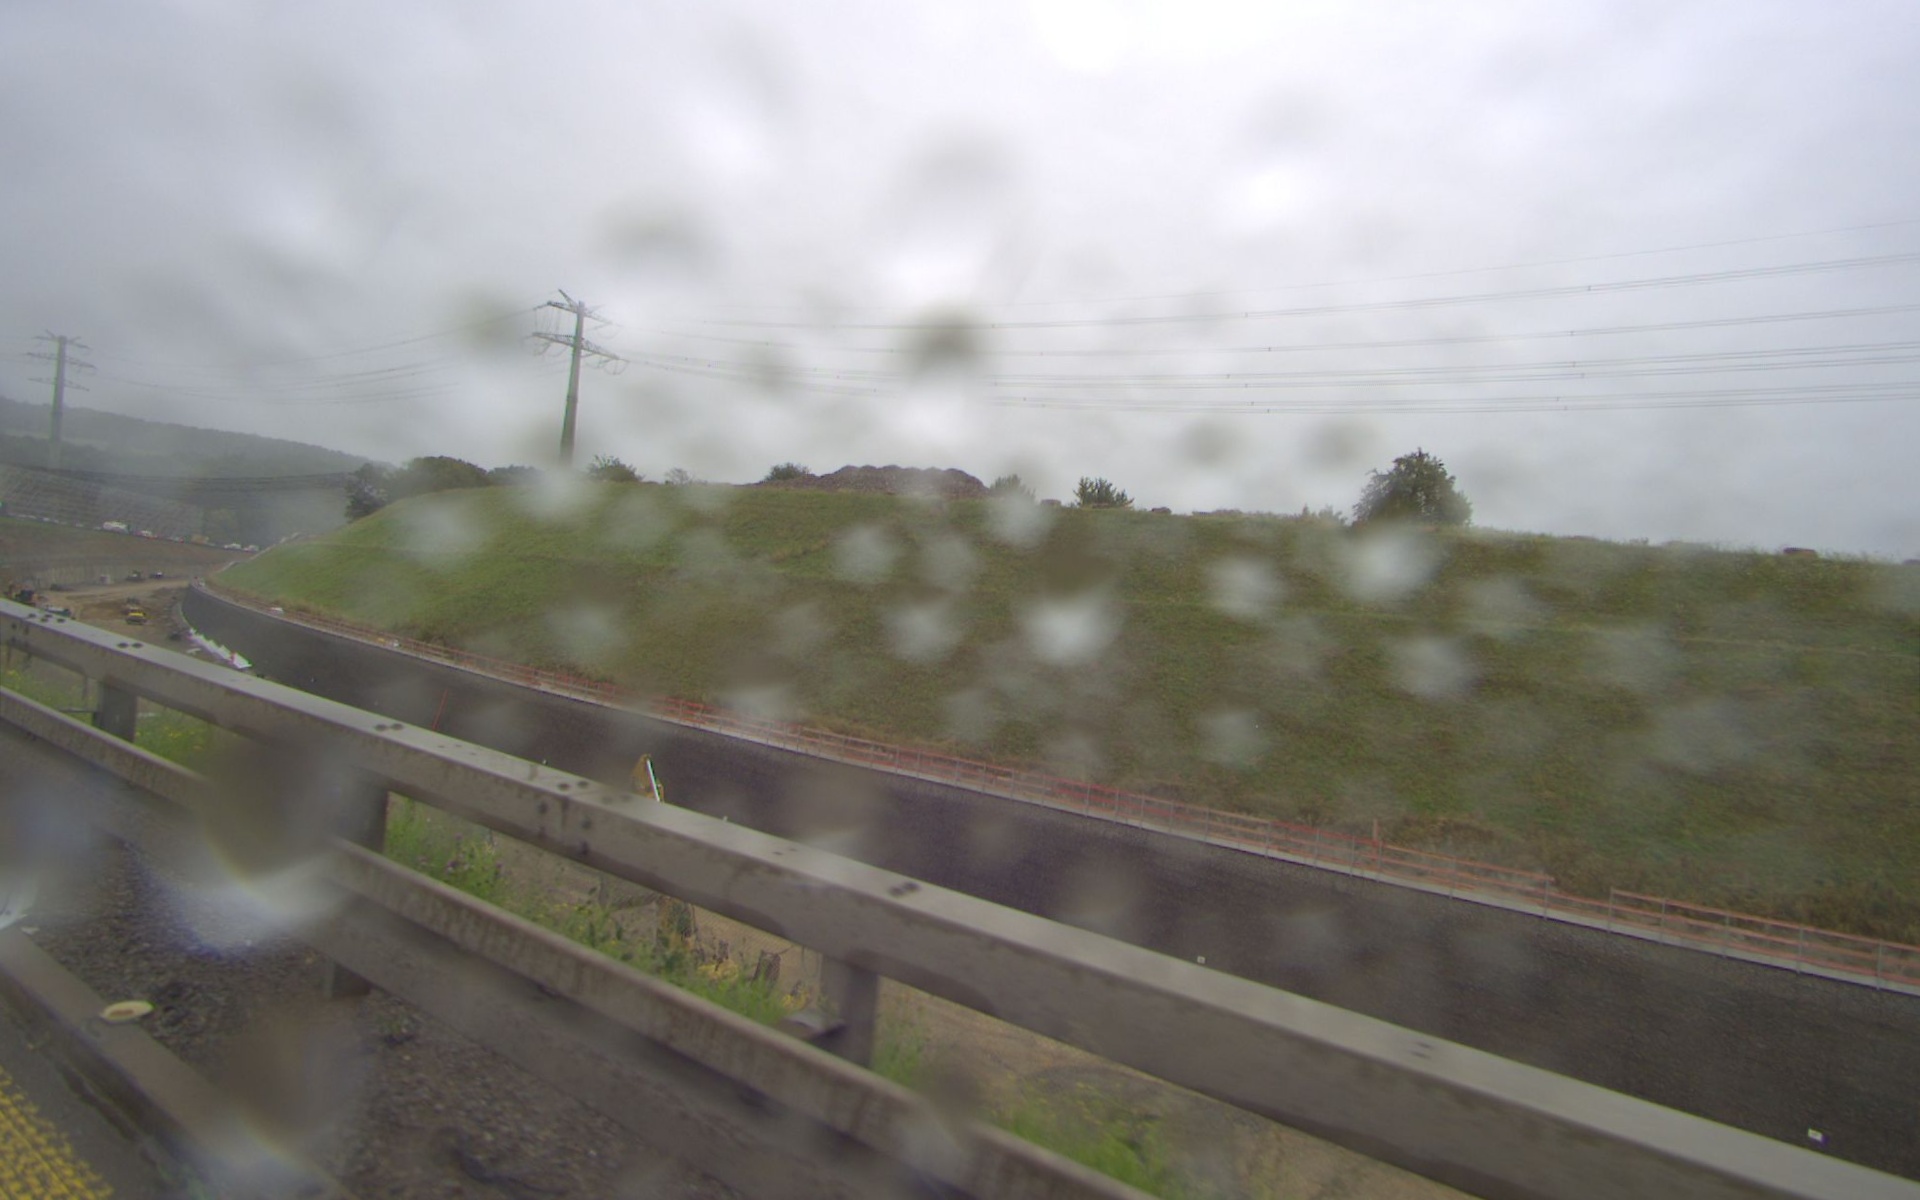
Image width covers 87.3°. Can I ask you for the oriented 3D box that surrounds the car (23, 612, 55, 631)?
[{"bbox_3d":[-111.903,2.597,122.215,3.938,1.837,1.995,6,-2,36],"label":"car"}]

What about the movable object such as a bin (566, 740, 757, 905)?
[{"bbox_3d":[-9.149,6.655,30.951,4.053,3.910,3.223,8,-2,31],"label":"movable object such as a bin"}]

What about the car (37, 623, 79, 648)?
[{"bbox_3d":[-99.089,3.885,110.539,3.935,2.036,2.369,7,-2,33],"label":"car"}]

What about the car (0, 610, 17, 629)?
[{"bbox_3d":[-127.482,2.573,134.369,1.989,2.036,3.951,9,-2,-43],"label":"car"}]
